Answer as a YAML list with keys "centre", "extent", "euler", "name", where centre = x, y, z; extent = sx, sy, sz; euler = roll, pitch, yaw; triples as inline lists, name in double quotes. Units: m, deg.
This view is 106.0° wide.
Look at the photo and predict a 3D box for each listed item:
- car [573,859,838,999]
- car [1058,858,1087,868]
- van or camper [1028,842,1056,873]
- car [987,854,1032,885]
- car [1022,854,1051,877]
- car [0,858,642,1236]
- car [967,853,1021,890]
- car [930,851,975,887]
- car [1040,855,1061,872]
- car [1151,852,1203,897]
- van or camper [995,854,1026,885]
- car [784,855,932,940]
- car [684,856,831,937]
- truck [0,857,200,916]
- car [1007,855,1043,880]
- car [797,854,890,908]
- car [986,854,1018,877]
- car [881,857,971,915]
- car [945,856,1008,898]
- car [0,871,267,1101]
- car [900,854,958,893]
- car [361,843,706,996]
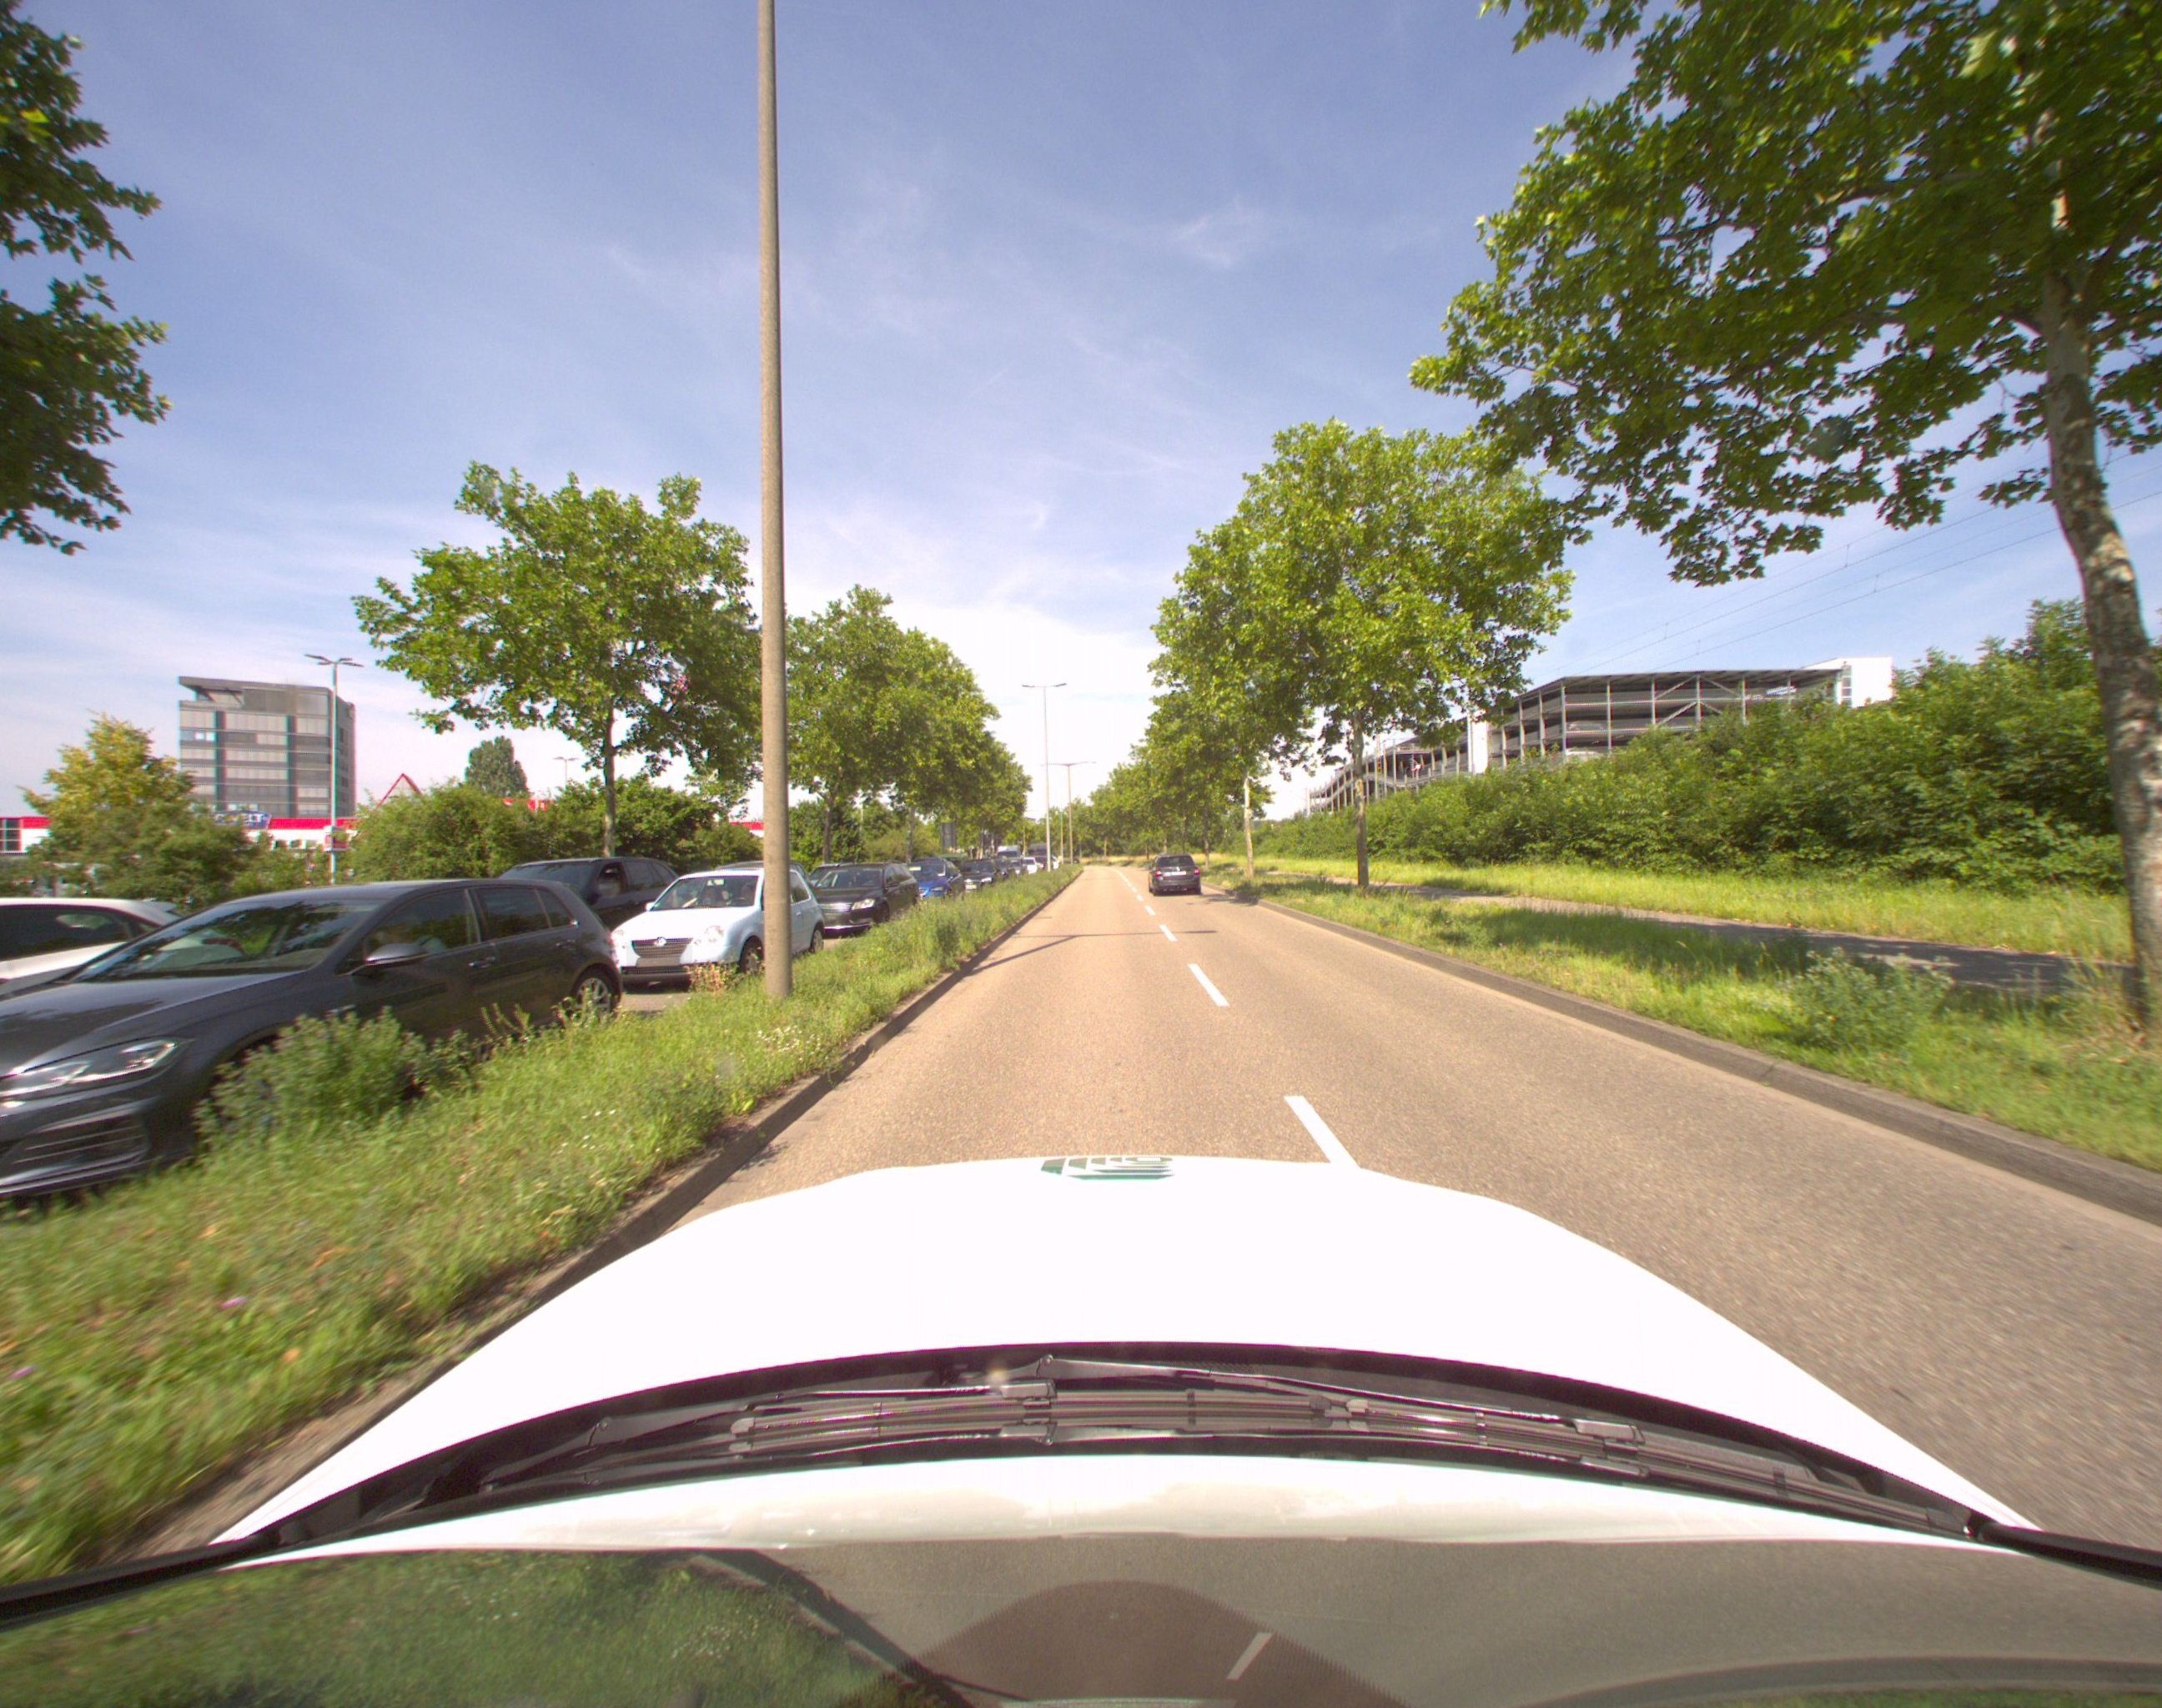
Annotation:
- centre: [-4.782, 0.859, 11.046]
  extent: [1.682, 1.472, 3.816]
  euler: [-2, 0, 2]
  name: "car"
- centre: [-1.435, 1.507, 132.246]
  extent: [4.562, 1.463, 1.926]
  euler: [0, 2, 40]
  name: "car"
- centre: [-3.178, 0.325, 66.774]
  extent: [1.932, 2.368, 5.397]
  euler: [-2, -1, 0]
  name: "van or camper"
- centre: [-3.897, 0.820, 45.117]
  extent: [1.806, 1.530, 4.644]
  euler: [-2, 0, 2]
  name: "car"
- centre: [-3.142, 0.793, 57.606]
  extent: [1.682, 1.510, 3.816]
  euler: [-2, 0, 2]
  name: "car"
- centre: [-4.977, 0.827, 5.393]
  extent: [1.682, 1.473, 4.220]
  euler: [-3, 0, 2]
  name: "car"
- centre: [-4.090, 0.774, 38.905]
  extent: [1.840, 1.607, 5.010]
  euler: [-2, 0, 2]
  name: "car"
- centre: [-7.033, 0.793, 44.918]
  extent: [1.682, 1.858, 4.038]
  euler: [-2, 0, 2]
  name: "car"
- centre: [-2.759, 0.867, 74.273]
  extent: [1.682, 1.530, 3.816]
  euler: [-2, -1, 2]
  name: "car"
- centre: [3.462, 0.680, 29.447]
  extent: [1.666, 1.453, 4.043]
  euler: [-3, 0, 6]
  name: "car"
- centre: [-6.233, 1.306, 72.381]
  extent: [2.007, 2.587, 5.519]
  euler: [-2, 0, 2]
  name: "van or camper"
- centre: [-4.734, 0.843, 18.090]
  extent: [1.751, 1.530, 4.829]
  euler: [-2, 0, 2]
  name: "car"
- centre: [-7.554, 0.911, 19.484]
  extent: [1.682, 1.646, 4.179]
  euler: [-2, 0, 2]
  name: "car"
- centre: [-39.953, 1.243, 33.281]
  extent: [5.256, 2.128, 1.975]
  euler: [-1, 0, -45]
  name: "truck"
- centre: [-3.451, 0.823, 51.183]
  extent: [1.777, 1.459, 4.474]
  euler: [-2, 0, 2]
  name: "car"
- centre: [-7.579, 0.821, 26.347]
  extent: [1.682, 1.530, 3.941]
  euler: [-2, 0, 2]
  name: "car"
- centre: [-6.245, 0.897, 65.064]
  extent: [1.986, 1.756, 4.001]
  euler: [-2, 0, 1]
  name: "car"
- centre: [-4.466, 0.872, 24.097]
  extent: [1.778, 1.489, 4.211]
  euler: [-2, 0, 0]
  name: "car"
- centre: [-4.022, 0.855, 32.041]
  extent: [1.817, 1.465, 4.450]
  euler: [-2, 0, 0]
  name: "car"
- centre: [-8.281, 0.972, 5.328]
  extent: [1.683, 1.530, 4.084]
  euler: [-3, 0, 1]
  name: "car"
- centre: [-7.014, 0.860, 37.942]
  extent: [1.682, 1.631, 4.313]
  euler: [-2, 0, 2]
  name: "car"
- centre: [-7.569, 0.801, 12.009]
  extent: [1.815, 1.737, 4.768]
  euler: [-2, -1, 0]
  name: "car"
